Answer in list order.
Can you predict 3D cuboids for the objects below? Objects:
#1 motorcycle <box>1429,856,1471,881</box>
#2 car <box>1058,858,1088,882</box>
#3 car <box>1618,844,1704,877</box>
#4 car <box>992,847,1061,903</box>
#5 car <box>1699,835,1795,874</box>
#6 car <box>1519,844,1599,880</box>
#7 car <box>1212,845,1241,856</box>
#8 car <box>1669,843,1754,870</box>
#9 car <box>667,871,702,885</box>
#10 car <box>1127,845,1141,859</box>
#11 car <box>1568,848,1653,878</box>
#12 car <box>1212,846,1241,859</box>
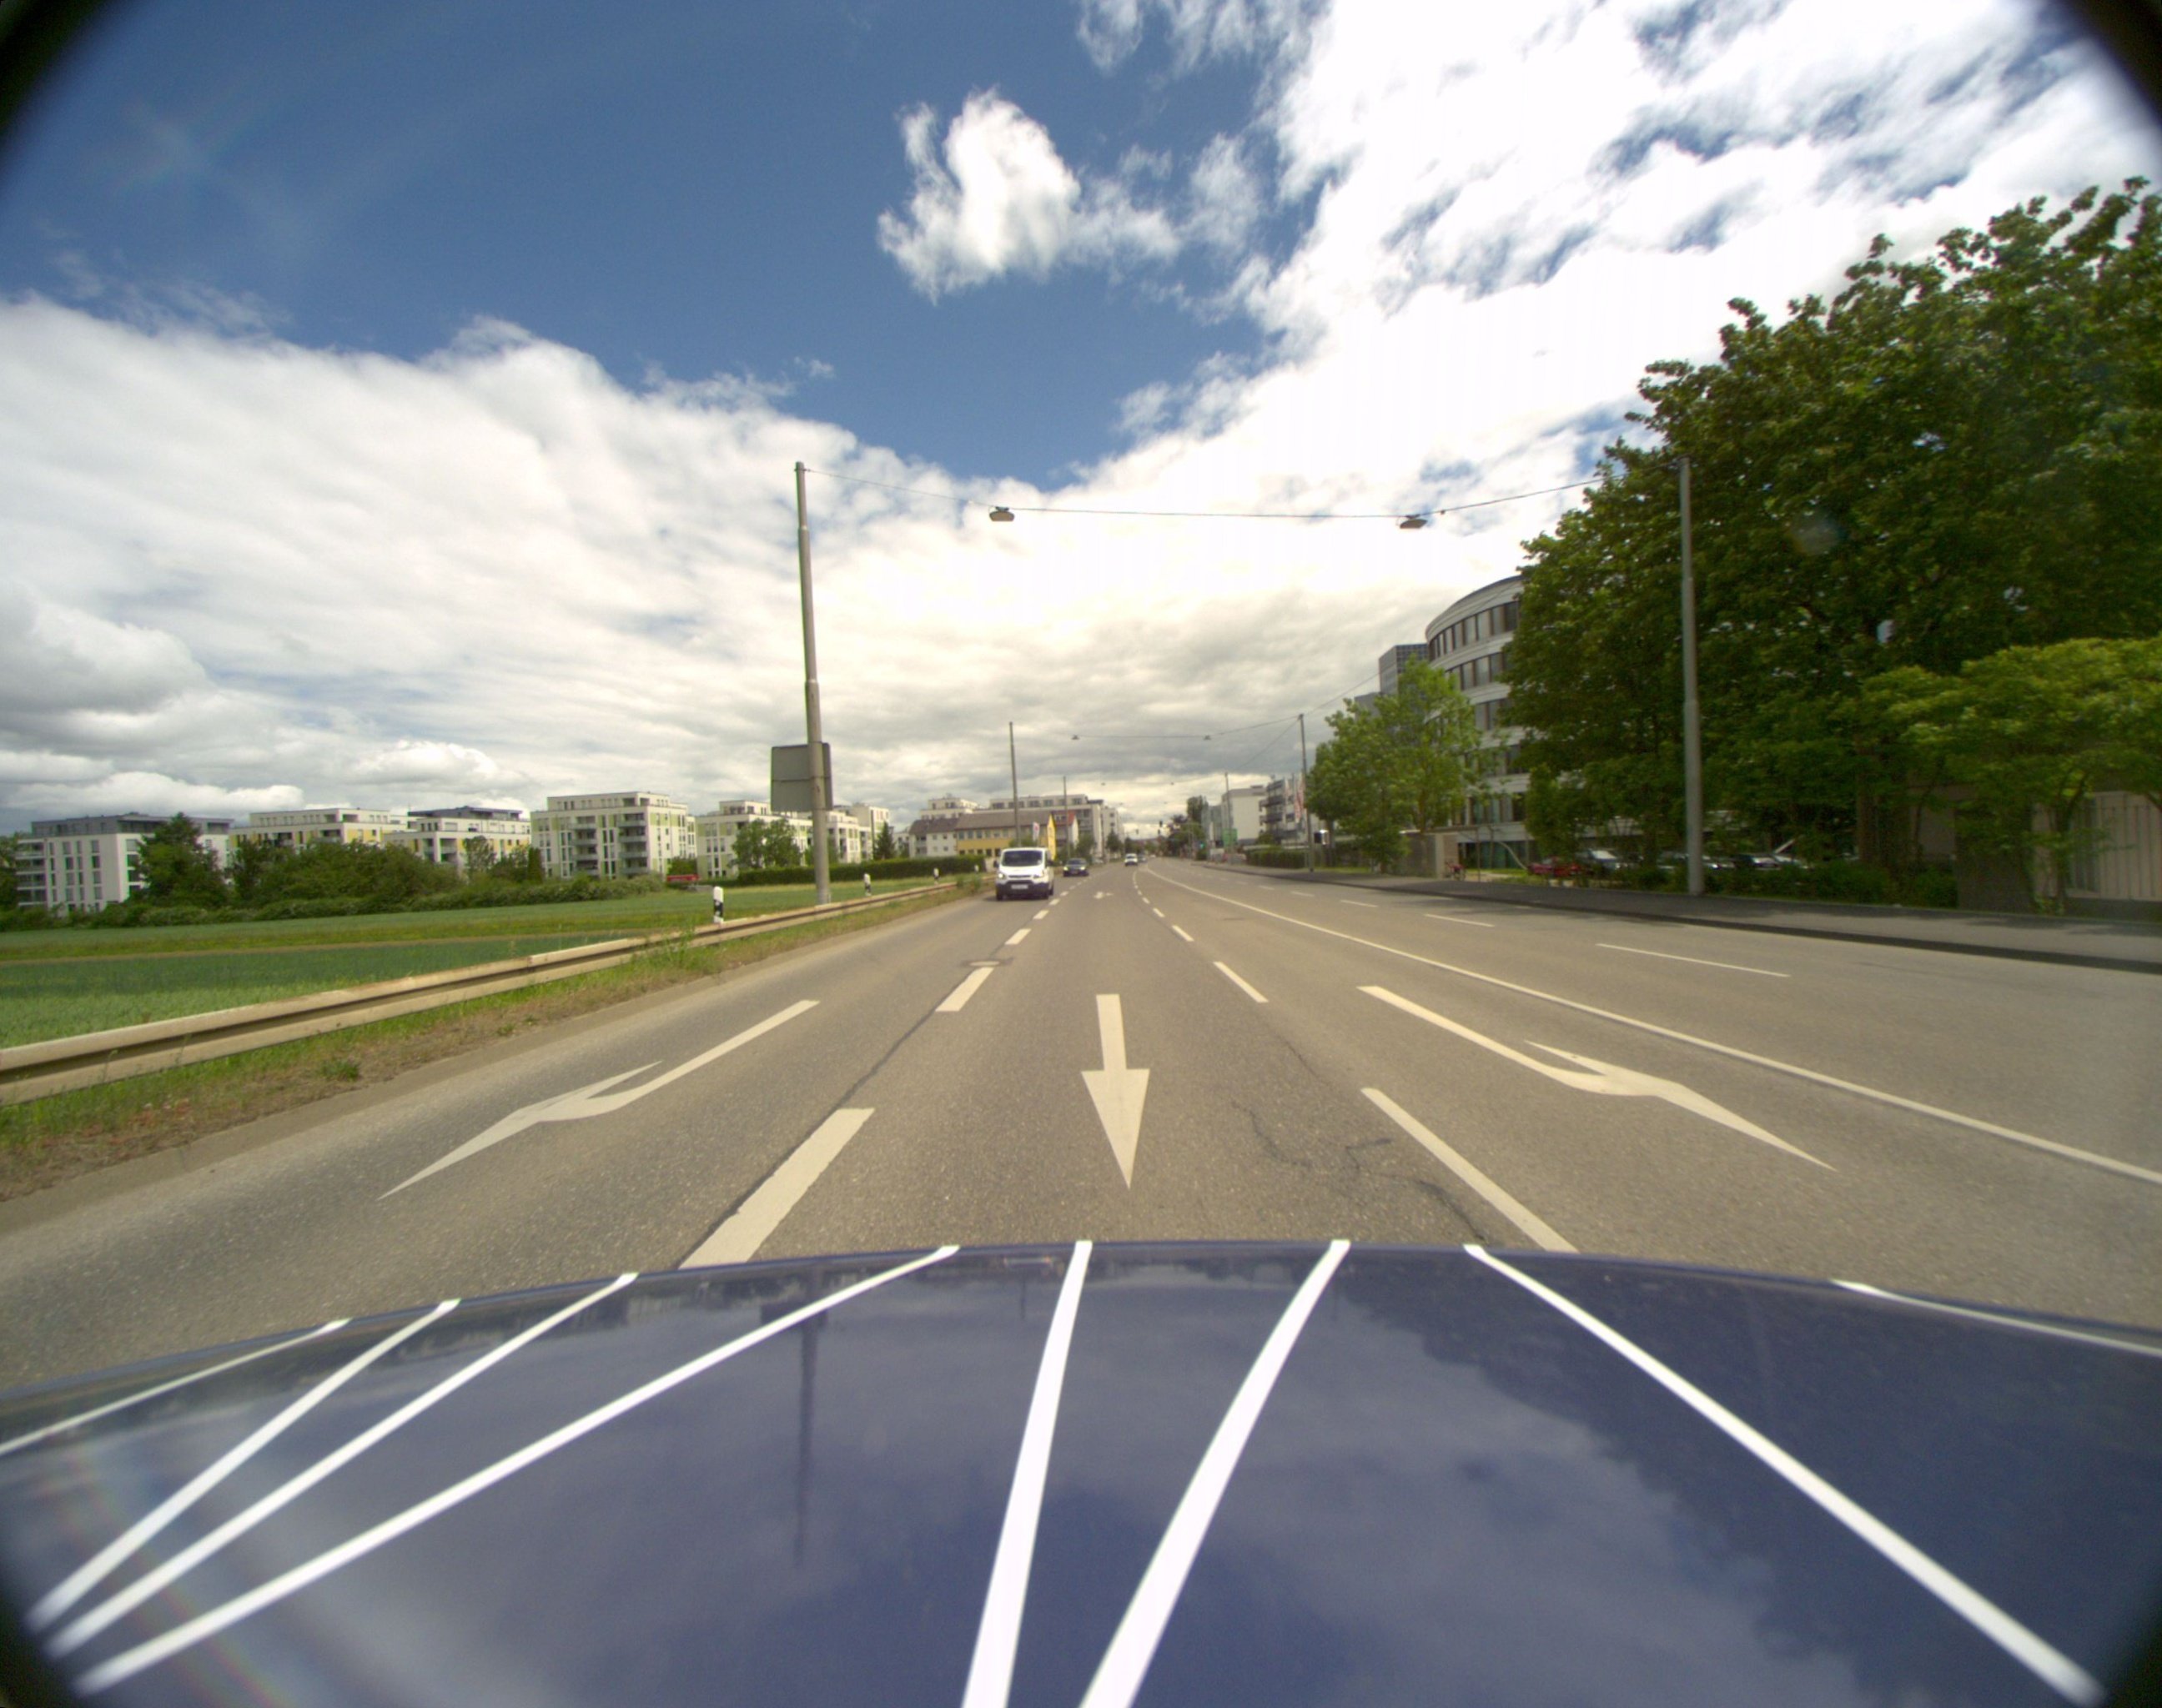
[{"bbox_3d":[20.137,0.796,41.443,1.905,1.237,0.745,-2,1,0],"label":"motorcycle"},{"bbox_3d":[-0.526,1.084,51.994,1.879,1.478,3.775,-3,0,0],"label":"car"},{"bbox_3d":[32.527,0.328,42.787,1.824,1.713,4.000,-2,1,1],"label":"car"},{"bbox_3d":[-2.070,0.730,30.573,1.998,1.907,5.882,-2,1,3],"label":"car"},{"bbox_3d":[37.320,0.018,42.741,1.932,2.015,4.000,-2,1,1],"label":"car"},{"bbox_3d":[27.250,0.384,43.510,1.868,1.784,3.996,-1,3,-3],"label":"car"},{"bbox_3d":[21.862,-0.564,114.443,3.996,1.324,1.824,-5,0,2],"label":"car"},{"bbox_3d":[35.328,0.126,42.704,1.525,1.368,4.000,-2,1,1],"label":"car"},{"bbox_3d":[-62.702,3.766,120.129,4.437,2.002,2.000,-2,1,0],"label":"car"},{"bbox_3d":[7.634,-0.308,110.288,1.800,2.002,4.000,-2,1,2],"label":"car"},{"bbox_3d":[29.681,0.463,42.755,1.998,1.609,4.000,0,1,2],"label":"car"},{"bbox_3d":[20.469,-0.192,106.947,3.801,1.602,1.836,-2,0,0],"label":"car"}]
